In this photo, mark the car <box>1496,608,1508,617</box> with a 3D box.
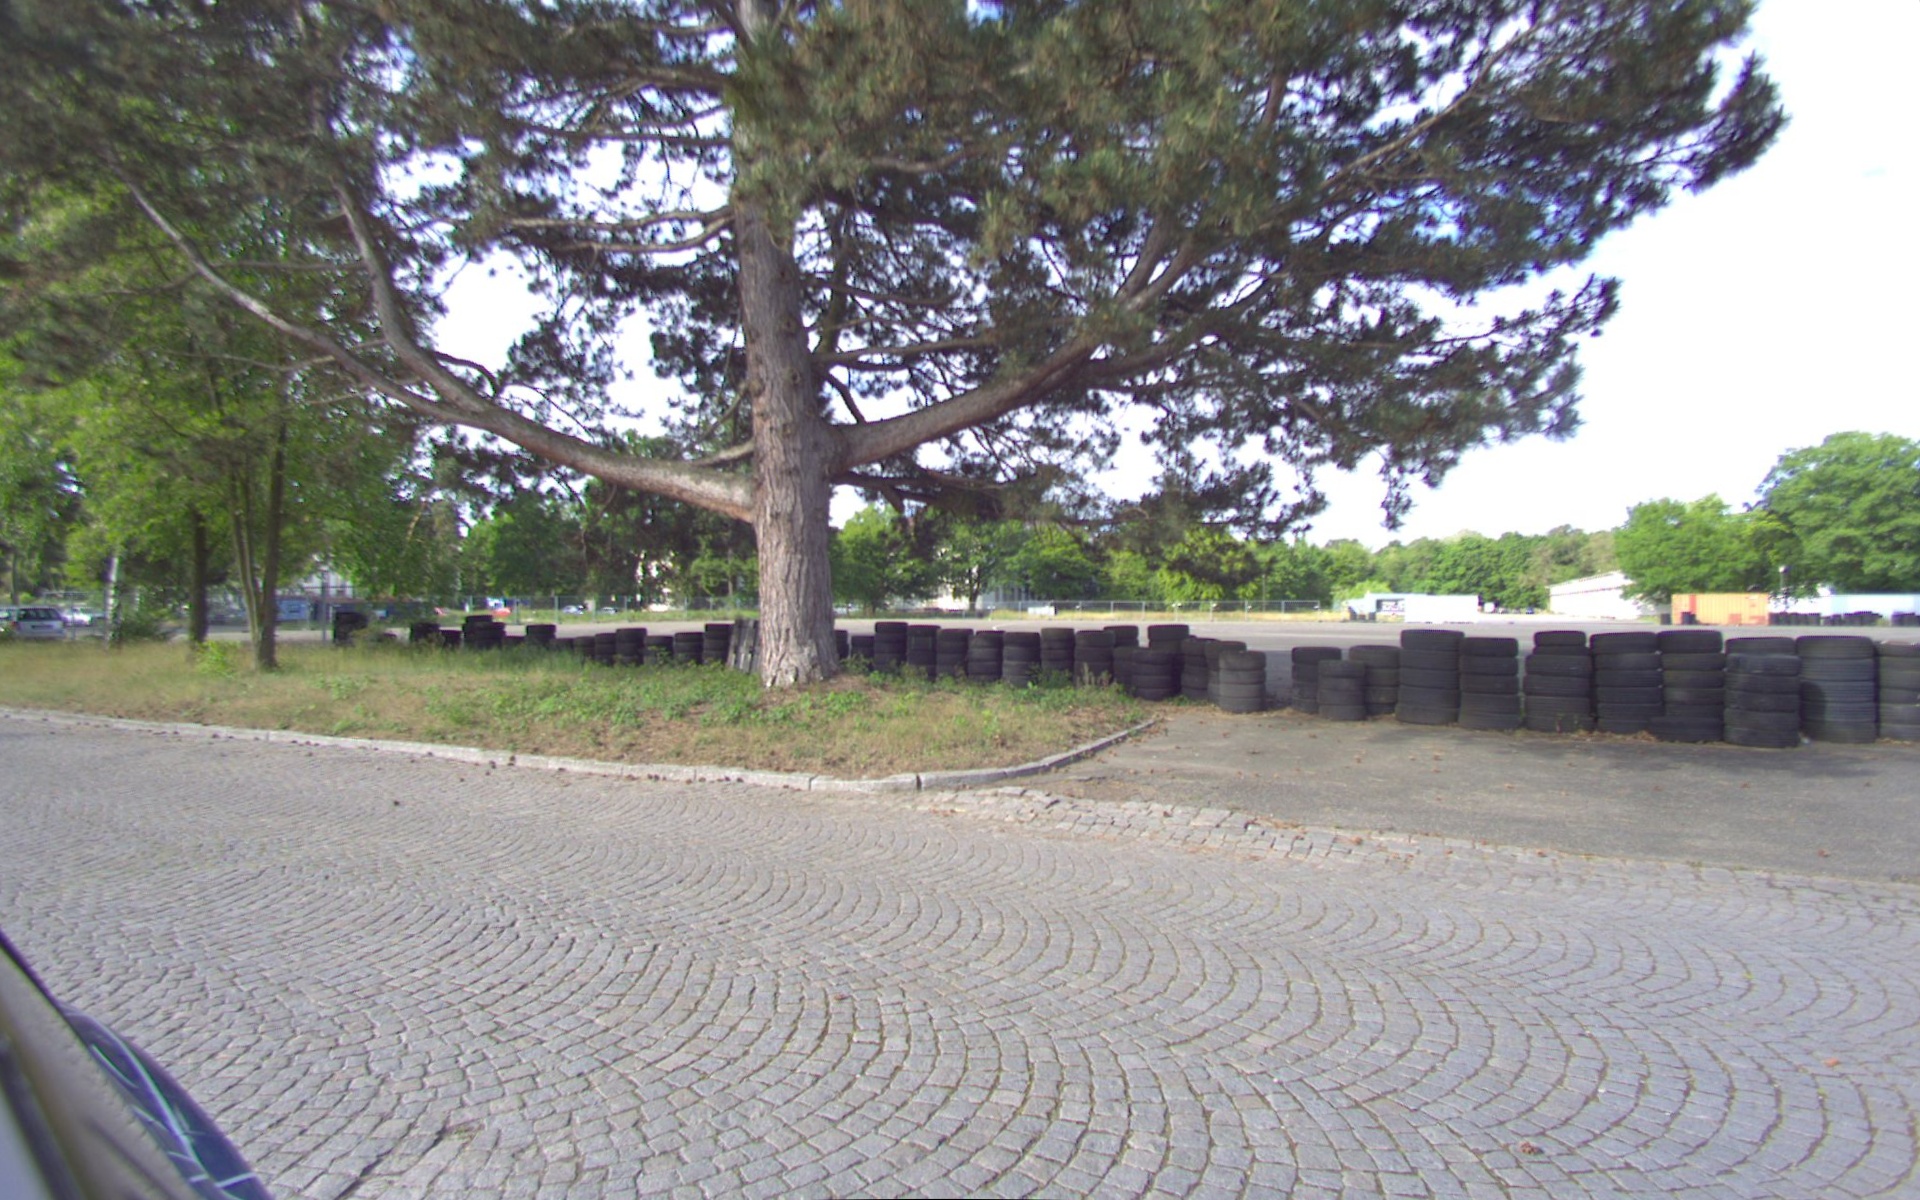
[{"bbox_3d":[118.261,2.736,220.798,1.987,1.763,3.969,0,-1,23],"label":"car"}]

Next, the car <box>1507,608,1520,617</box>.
[{"bbox_3d":[120.368,2.691,219.956,2.025,1.822,3.969,0,-1,23],"label":"car"}]

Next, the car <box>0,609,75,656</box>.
[{"bbox_3d":[-32.410,1.078,34.566,3.977,1.553,1.876,0,-1,25],"label":"car"}]

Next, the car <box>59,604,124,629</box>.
[{"bbox_3d":[-58.394,1.096,68.062,3.980,1.630,1.982,-1,0,27],"label":"car"}]

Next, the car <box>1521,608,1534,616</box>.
[{"bbox_3d":[122.636,2.576,218.829,1.987,1.763,3.969,0,-1,23],"label":"car"}]

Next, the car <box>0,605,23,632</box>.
[{"bbox_3d":[-60.271,1.135,62.915,3.983,1.630,1.809,-1,0,29],"label":"car"}]
